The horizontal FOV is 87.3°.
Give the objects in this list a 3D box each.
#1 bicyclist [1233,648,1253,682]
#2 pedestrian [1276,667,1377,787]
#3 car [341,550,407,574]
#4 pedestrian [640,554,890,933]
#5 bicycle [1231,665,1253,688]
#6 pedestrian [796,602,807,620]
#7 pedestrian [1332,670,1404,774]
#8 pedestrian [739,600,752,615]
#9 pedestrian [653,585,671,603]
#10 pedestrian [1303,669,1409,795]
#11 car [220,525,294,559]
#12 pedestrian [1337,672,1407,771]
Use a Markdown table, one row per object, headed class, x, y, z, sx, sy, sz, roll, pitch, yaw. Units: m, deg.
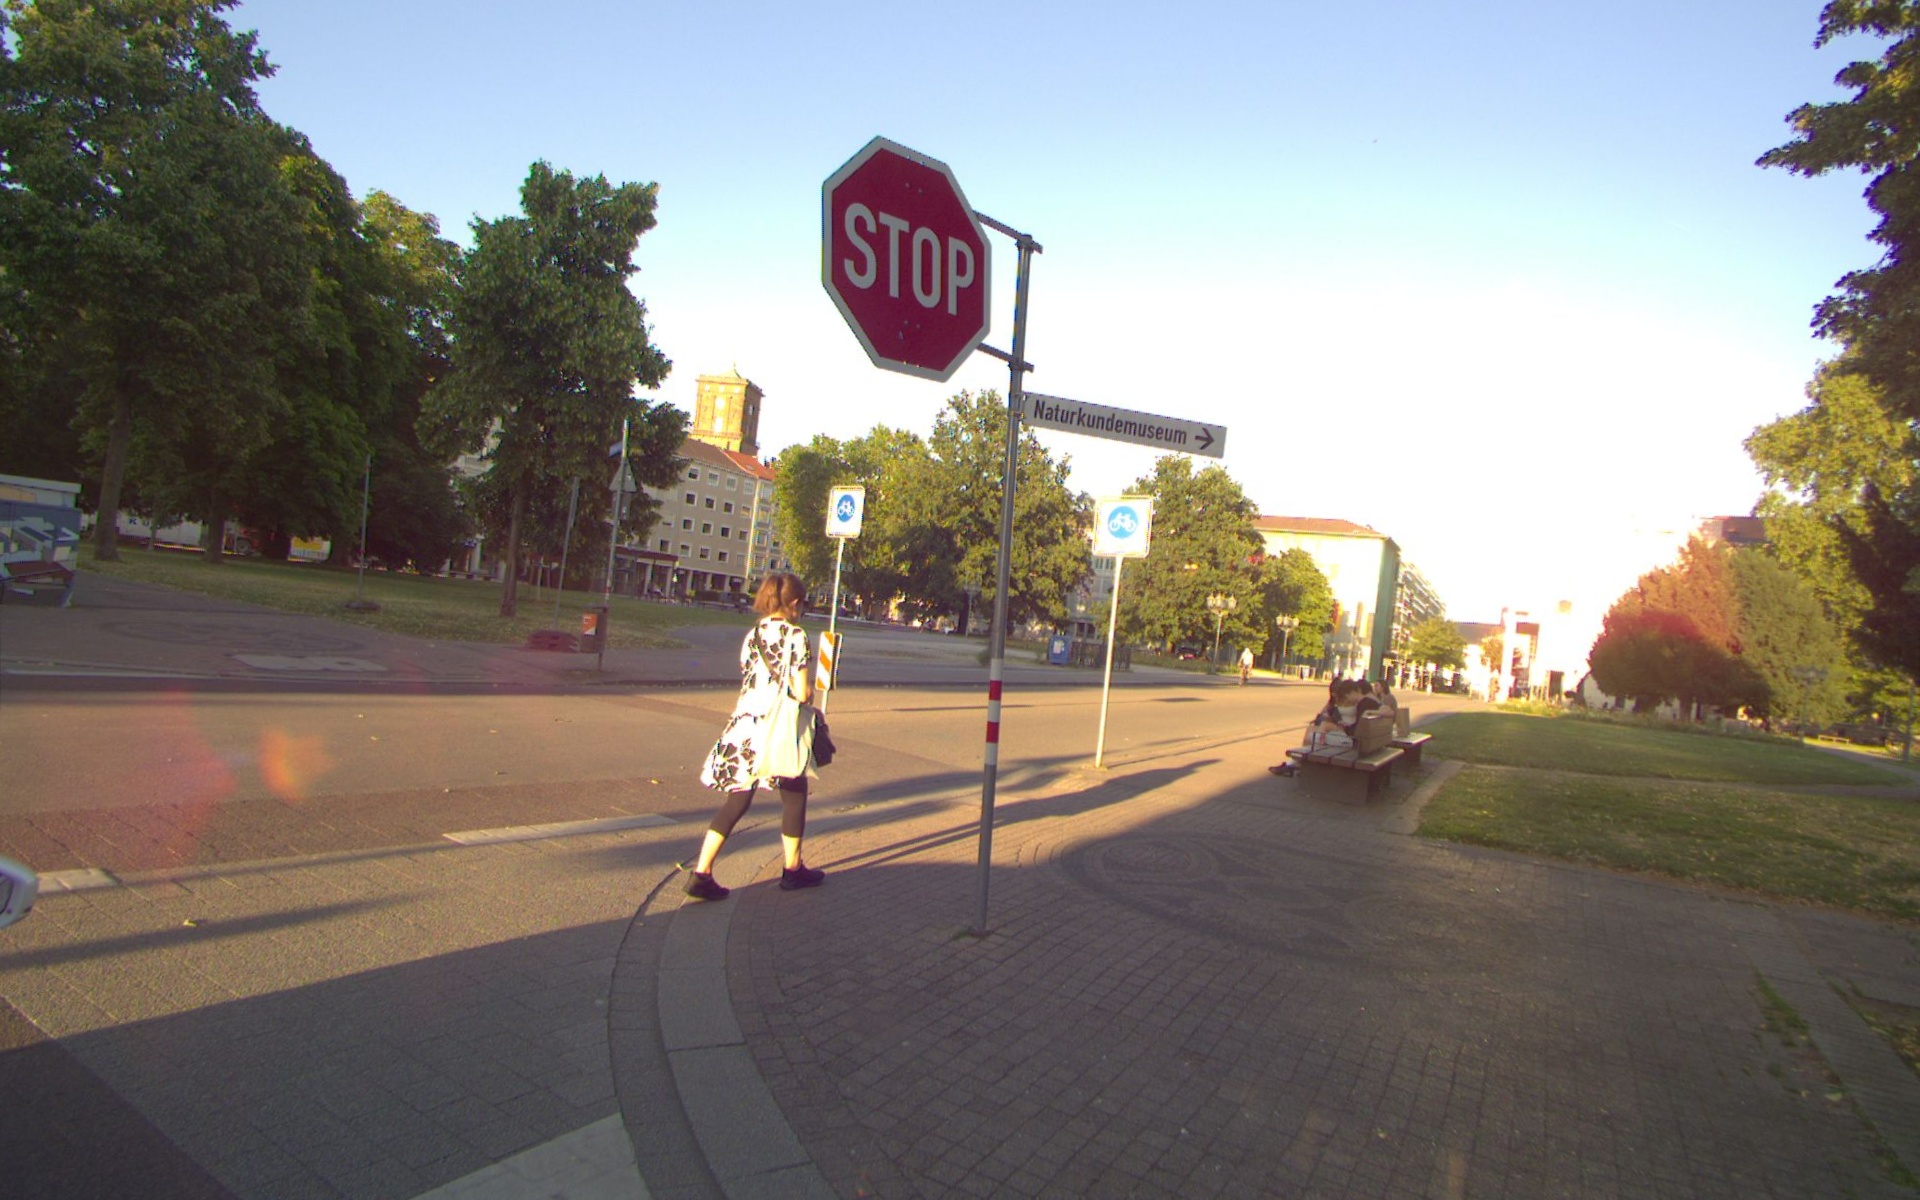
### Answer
| class | x | y | z | sx | sy | sz | roll | pitch | yaw |
| --- | --- | --- | --- | --- | --- | --- | --- | --- | --- |
| bicyclist | 12.679 | 2.922 | 45.075 | 0.630 | 1.461 | 0.695 | 6 | 0 | 25 |
| pedestrian | 4.343 | 1.493 | 11.970 | 0.857 | 1.277 | 0.598 | 6 | 0 | 0 |
| car | -42.300 | -2.729 | 72.718 | 1.964 | 1.255 | 3.583 | 6 | -1 | 25 |
| pedestrian | -0.990 | 0.679 | 5.172 | 0.822 | 1.710 | 0.735 | 6 | 0 | 31 |
| bicycle | 12.636 | 3.425 | 45.102 | 0.630 | 0.953 | 1.463 | 6 | -1 | 24 |
| pedestrian | -10.325 | 0.705 | 65.616 | 0.610 | 1.091 | 0.511 | 6 | 0 | -9 |
| pedestrian | 5.880 | 1.734 | 14.494 | 0.804 | 1.358 | 0.598 | 6 | 0 | 26 |
| pedestrian | -14.033 | 0.484 | 65.808 | 0.609 | 0.936 | 0.512 | 6 | 0 | 6 |
| pedestrian | -20.530 | -0.403 | 69.249 | 0.893 | 1.091 | 0.614 | 6 | 0 | -42 |
| pedestrian | 4.433 | 1.464 | 11.315 | 0.803 | 1.253 | 0.683 | 6 | 0 | 1 |
| car | -53.328 | -4.379 | 76.375 | 1.967 | 2.038 | 4.036 | 6 | -1 | 32 |
| pedestrian | 6.177 | 1.798 | 15.080 | 0.804 | 1.358 | 0.598 | 6 | 0 | 26 |
